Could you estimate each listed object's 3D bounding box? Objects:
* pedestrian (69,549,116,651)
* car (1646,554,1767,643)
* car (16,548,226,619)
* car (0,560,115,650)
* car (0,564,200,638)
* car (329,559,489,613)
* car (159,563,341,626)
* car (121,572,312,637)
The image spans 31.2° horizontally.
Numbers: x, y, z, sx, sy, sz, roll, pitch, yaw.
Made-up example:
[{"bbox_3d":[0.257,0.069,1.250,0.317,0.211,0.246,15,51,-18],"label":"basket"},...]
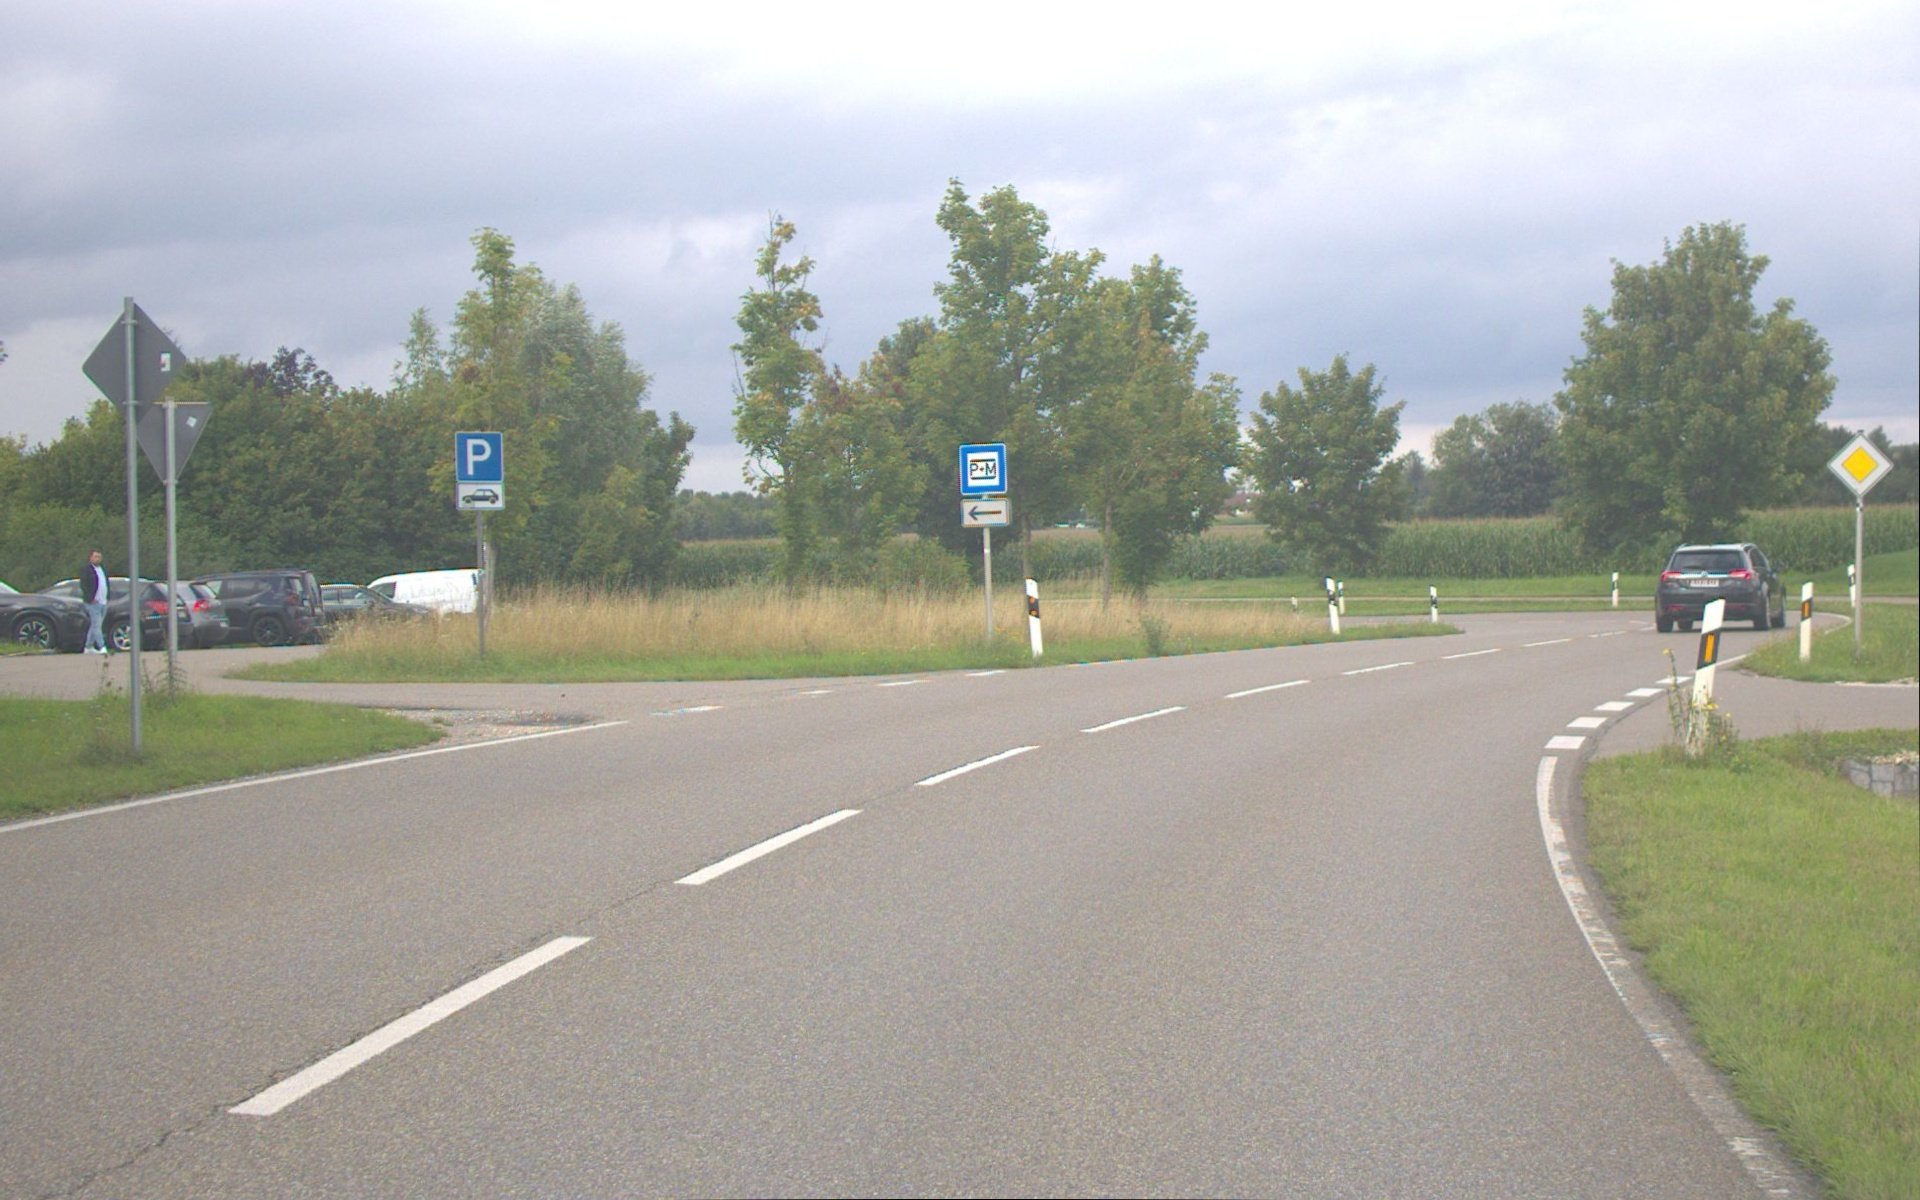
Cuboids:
[{"bbox_3d":[-14.328,-0.006,56.807,0.515,1.661,0.660,-1,1,8],"label":"pedestrian"},{"bbox_3d":[12.519,-0.048,57.526,1.842,1.412,3.998,-1,1,14],"label":"car"},{"bbox_3d":[-17.112,-0.347,70.239,3.986,1.375,1.476,-1,1,-7],"label":"car"},{"bbox_3d":[-17.376,0.096,61.111,4.241,1.560,1.758,-1,1,2],"label":"car"},{"bbox_3d":[-17.082,0.007,67.108,3.988,1.375,1.824,-1,1,5],"label":"car"},{"bbox_3d":[-14.521,-0.378,90.748,3.987,1.375,1.476,-1,1,0],"label":"car"},{"bbox_3d":[-16.501,-0.136,80.049,3.986,1.375,1.476,-1,1,-5],"label":"car"},{"bbox_3d":[-16.429,0.089,76.120,3.986,1.375,1.476,-1,1,-6],"label":"car"}]
